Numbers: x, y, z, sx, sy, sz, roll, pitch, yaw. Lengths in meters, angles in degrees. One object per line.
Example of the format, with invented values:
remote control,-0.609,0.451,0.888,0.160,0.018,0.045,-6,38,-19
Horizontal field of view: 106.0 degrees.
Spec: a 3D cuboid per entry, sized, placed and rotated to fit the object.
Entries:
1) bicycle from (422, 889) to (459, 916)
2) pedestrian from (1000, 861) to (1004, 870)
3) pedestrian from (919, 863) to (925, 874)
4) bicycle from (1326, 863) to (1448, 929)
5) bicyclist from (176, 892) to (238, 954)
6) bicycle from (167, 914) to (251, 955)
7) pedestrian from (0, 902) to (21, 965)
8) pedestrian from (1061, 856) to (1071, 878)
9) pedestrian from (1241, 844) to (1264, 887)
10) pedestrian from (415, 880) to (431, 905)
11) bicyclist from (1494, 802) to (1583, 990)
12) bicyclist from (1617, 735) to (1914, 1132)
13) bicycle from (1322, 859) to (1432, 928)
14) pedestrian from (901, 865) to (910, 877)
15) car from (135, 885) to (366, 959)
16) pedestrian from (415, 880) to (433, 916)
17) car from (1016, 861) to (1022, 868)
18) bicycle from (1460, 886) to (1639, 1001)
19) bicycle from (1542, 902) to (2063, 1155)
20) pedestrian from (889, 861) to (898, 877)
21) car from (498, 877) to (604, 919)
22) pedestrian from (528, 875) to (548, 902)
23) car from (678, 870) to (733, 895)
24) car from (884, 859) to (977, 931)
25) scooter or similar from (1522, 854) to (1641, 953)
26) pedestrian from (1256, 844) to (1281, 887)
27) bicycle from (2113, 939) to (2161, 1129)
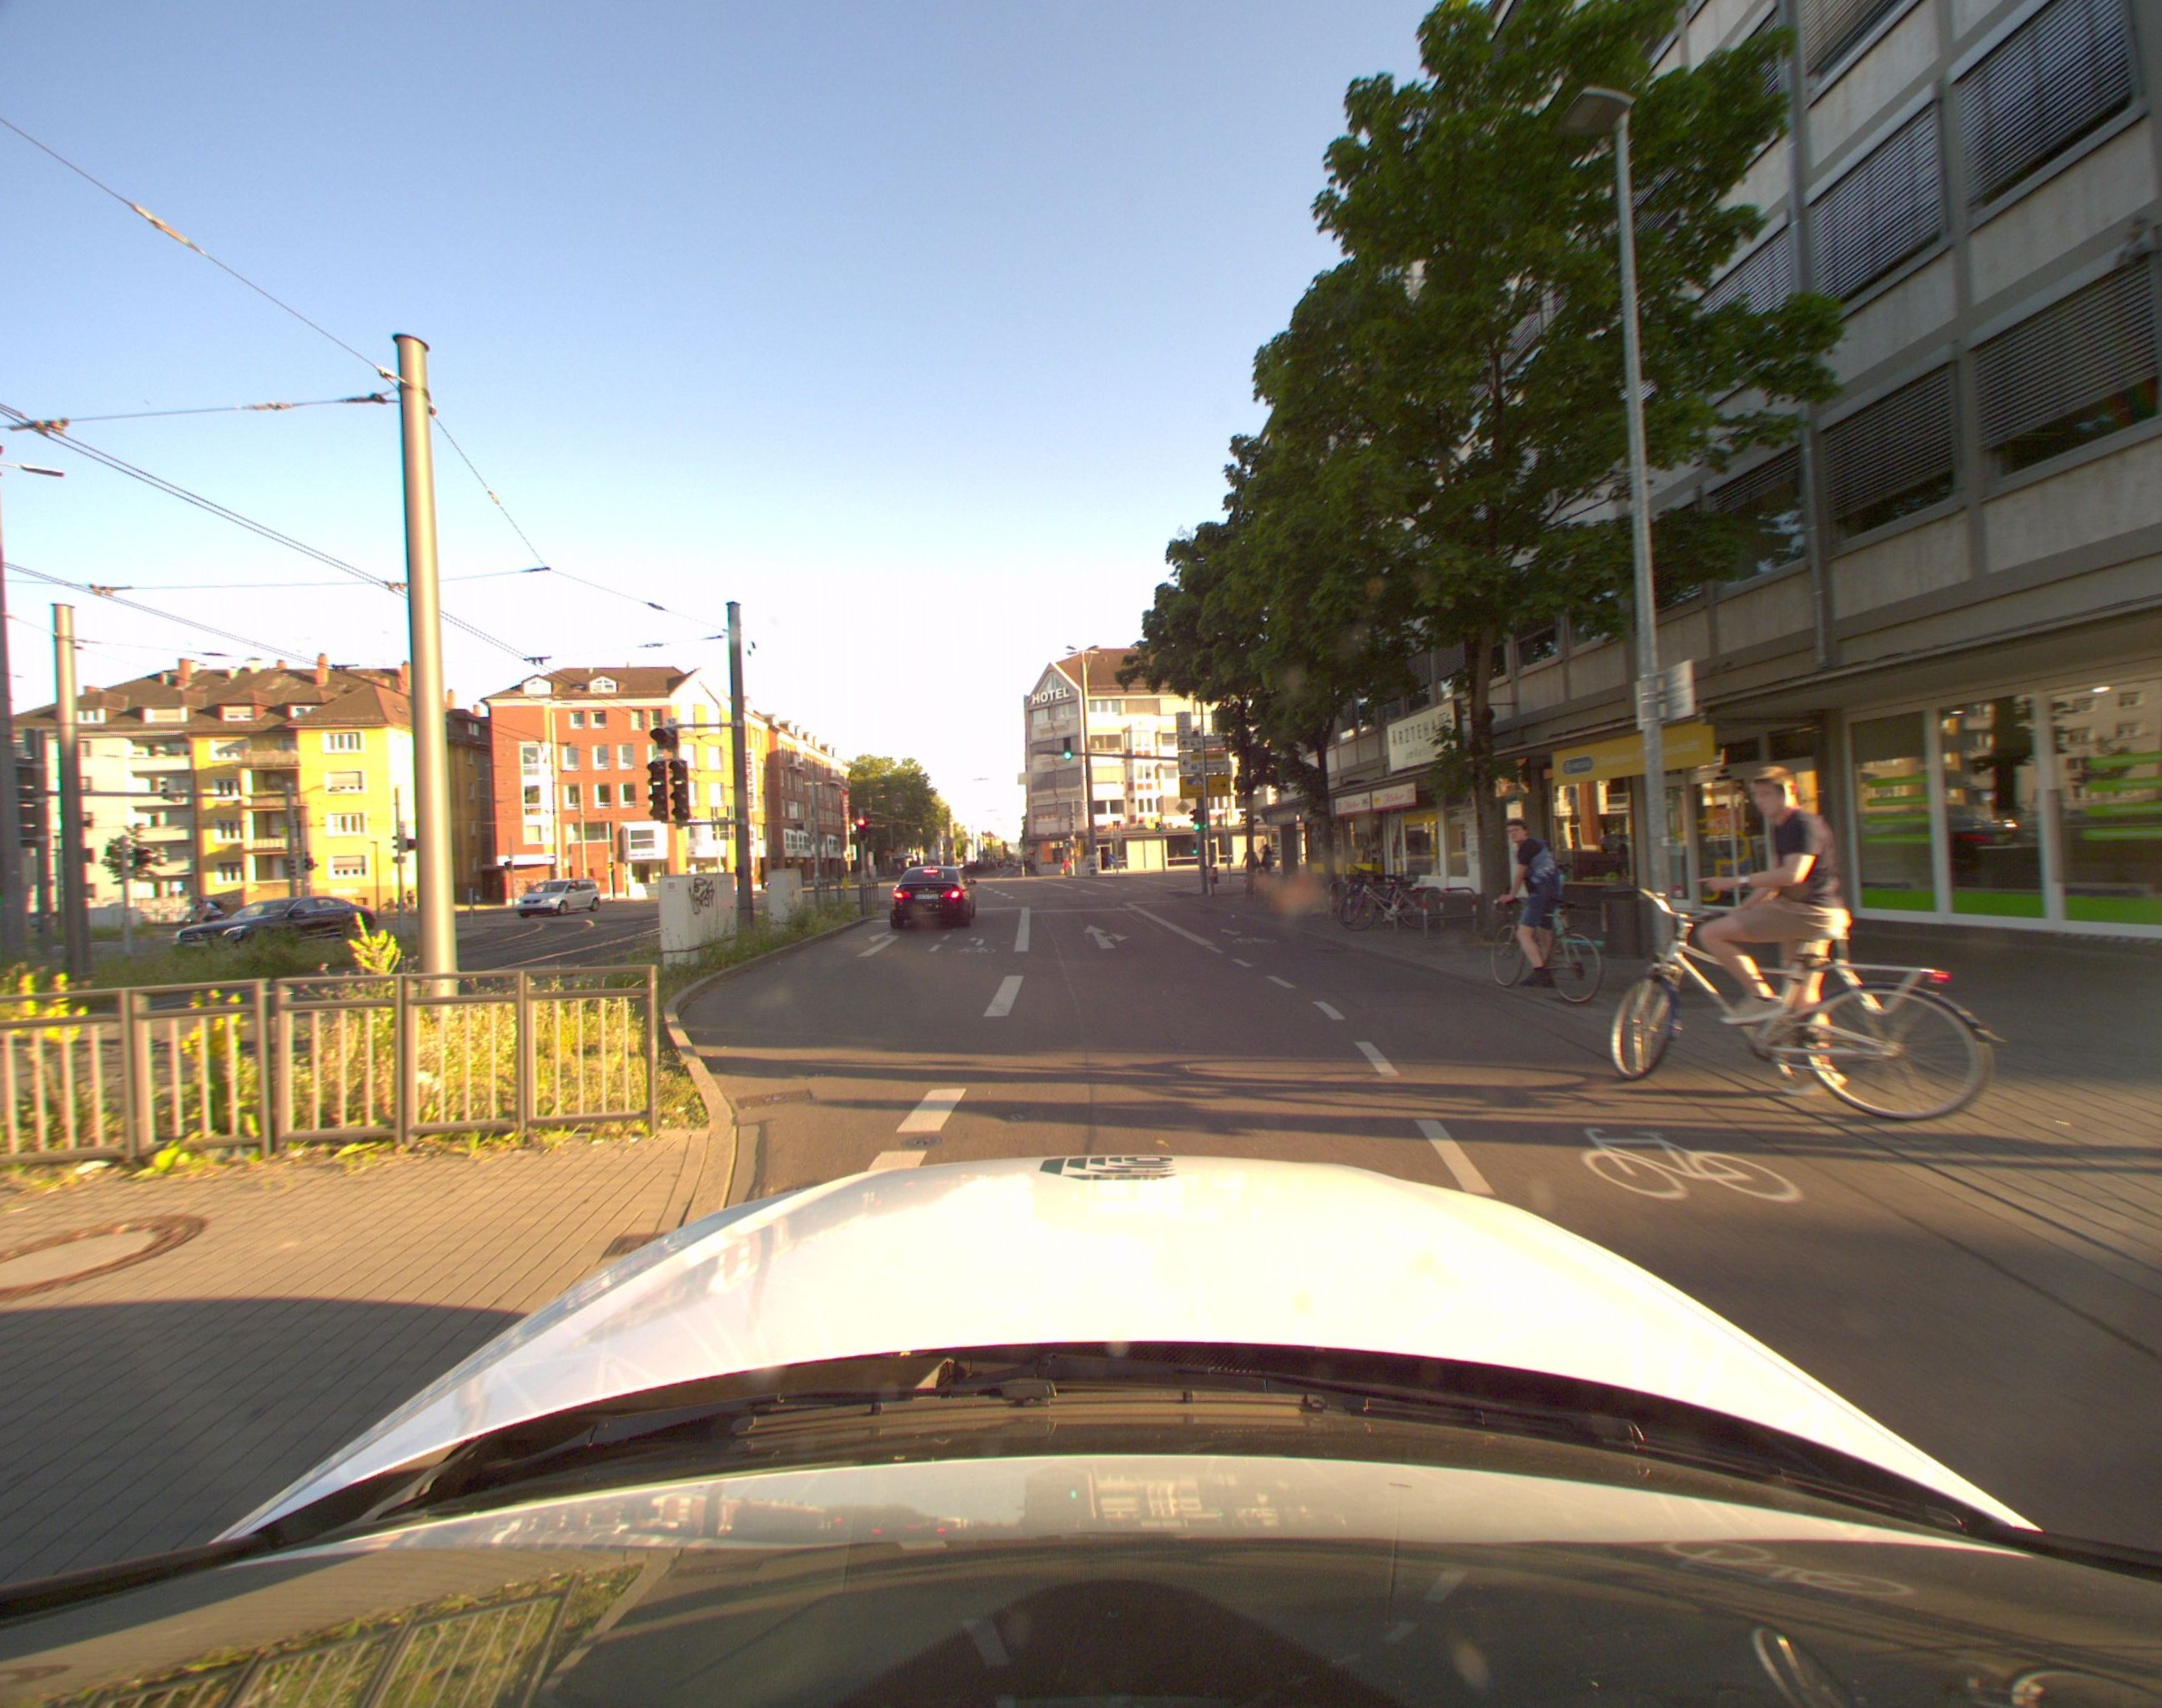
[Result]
bicycle,-34.312,2.566,43.628,0.617,1.325,2.010,-1,0,-8
pedestrian,-18.885,2.765,195.523,0.913,2.013,0.885,-3,0,-6
pedestrian,-25.869,2.347,132.395,0.722,1.681,0.990,-3,0,-2
bicycle,5.669,0.774,15.162,1.985,1.110,0.670,-3,0,8
bicyclist,-25.768,2.015,24.030,0.660,1.688,0.980,-3,0,2
bicycle,-25.753,2.367,24.087,0.663,1.008,1.624,-3,0,2
pedestrian,-34.335,2.523,25.423,1.102,1.944,1.017,-3,0,-24
pedestrian,-1.238,1.117,69.351,0.684,1.854,0.669,-3,-1,-8
pedestrian,6.773,0.458,32.136,0.682,1.667,0.671,-3,-1,-1
pedestrian,-51.457,2.987,63.663,0.809,1.868,0.658,-1,-1,-26
bicyclist,4.660,0.412,8.321,0.465,1.830,0.557,-3,0,-13
bicyclist,3.864,0.385,4.629,0.845,1.917,1.101,-3,0,-41
bicycle,5.841,0.773,16.130,1.894,1.235,0.669,-3,0,6
pedestrian,-24.273,2.351,112.485,0.986,1.681,0.724,-3,0,-6
car,-22.776,1.778,22.670,1.992,1.585,4.576,-3,0,-7
pedestrian,-34.921,2.344,43.277,0.502,1.868,0.561,-1,-1,-10
car,-15.982,2.664,209.190,1.471,1.515,3.090,-3,0,-5
bicycle,4.687,0.844,8.310,0.465,0.970,1.793,-3,0,-12
bicycle,3.906,0.825,4.616,0.845,1.020,2.052,-3,0,-41
pedestrian,-24.657,1.944,107.170,0.986,2.014,0.724,-1,-1,-6
car,-23.880,1.952,36.891,1.987,1.585,4.113,-3,0,0
pedestrian,-39.099,2.483,58.658,0.941,1.868,0.835,-1,-1,-14
car,-25.101,1.897,54.588,1.664,1.448,4.201,-3,0,0
car,-3.653,0.940,20.445,1.991,1.585,3.991,-1,0,-6
scooter or similar,6.617,0.651,10.791,1.261,1.235,0.340,-3,0,37
pedestrian,7.516,0.473,32.666,0.721,1.667,0.671,-3,-1,-1
bicycle,5.993,0.822,3.355,1.989,0.881,0.844,-3,-1,19
